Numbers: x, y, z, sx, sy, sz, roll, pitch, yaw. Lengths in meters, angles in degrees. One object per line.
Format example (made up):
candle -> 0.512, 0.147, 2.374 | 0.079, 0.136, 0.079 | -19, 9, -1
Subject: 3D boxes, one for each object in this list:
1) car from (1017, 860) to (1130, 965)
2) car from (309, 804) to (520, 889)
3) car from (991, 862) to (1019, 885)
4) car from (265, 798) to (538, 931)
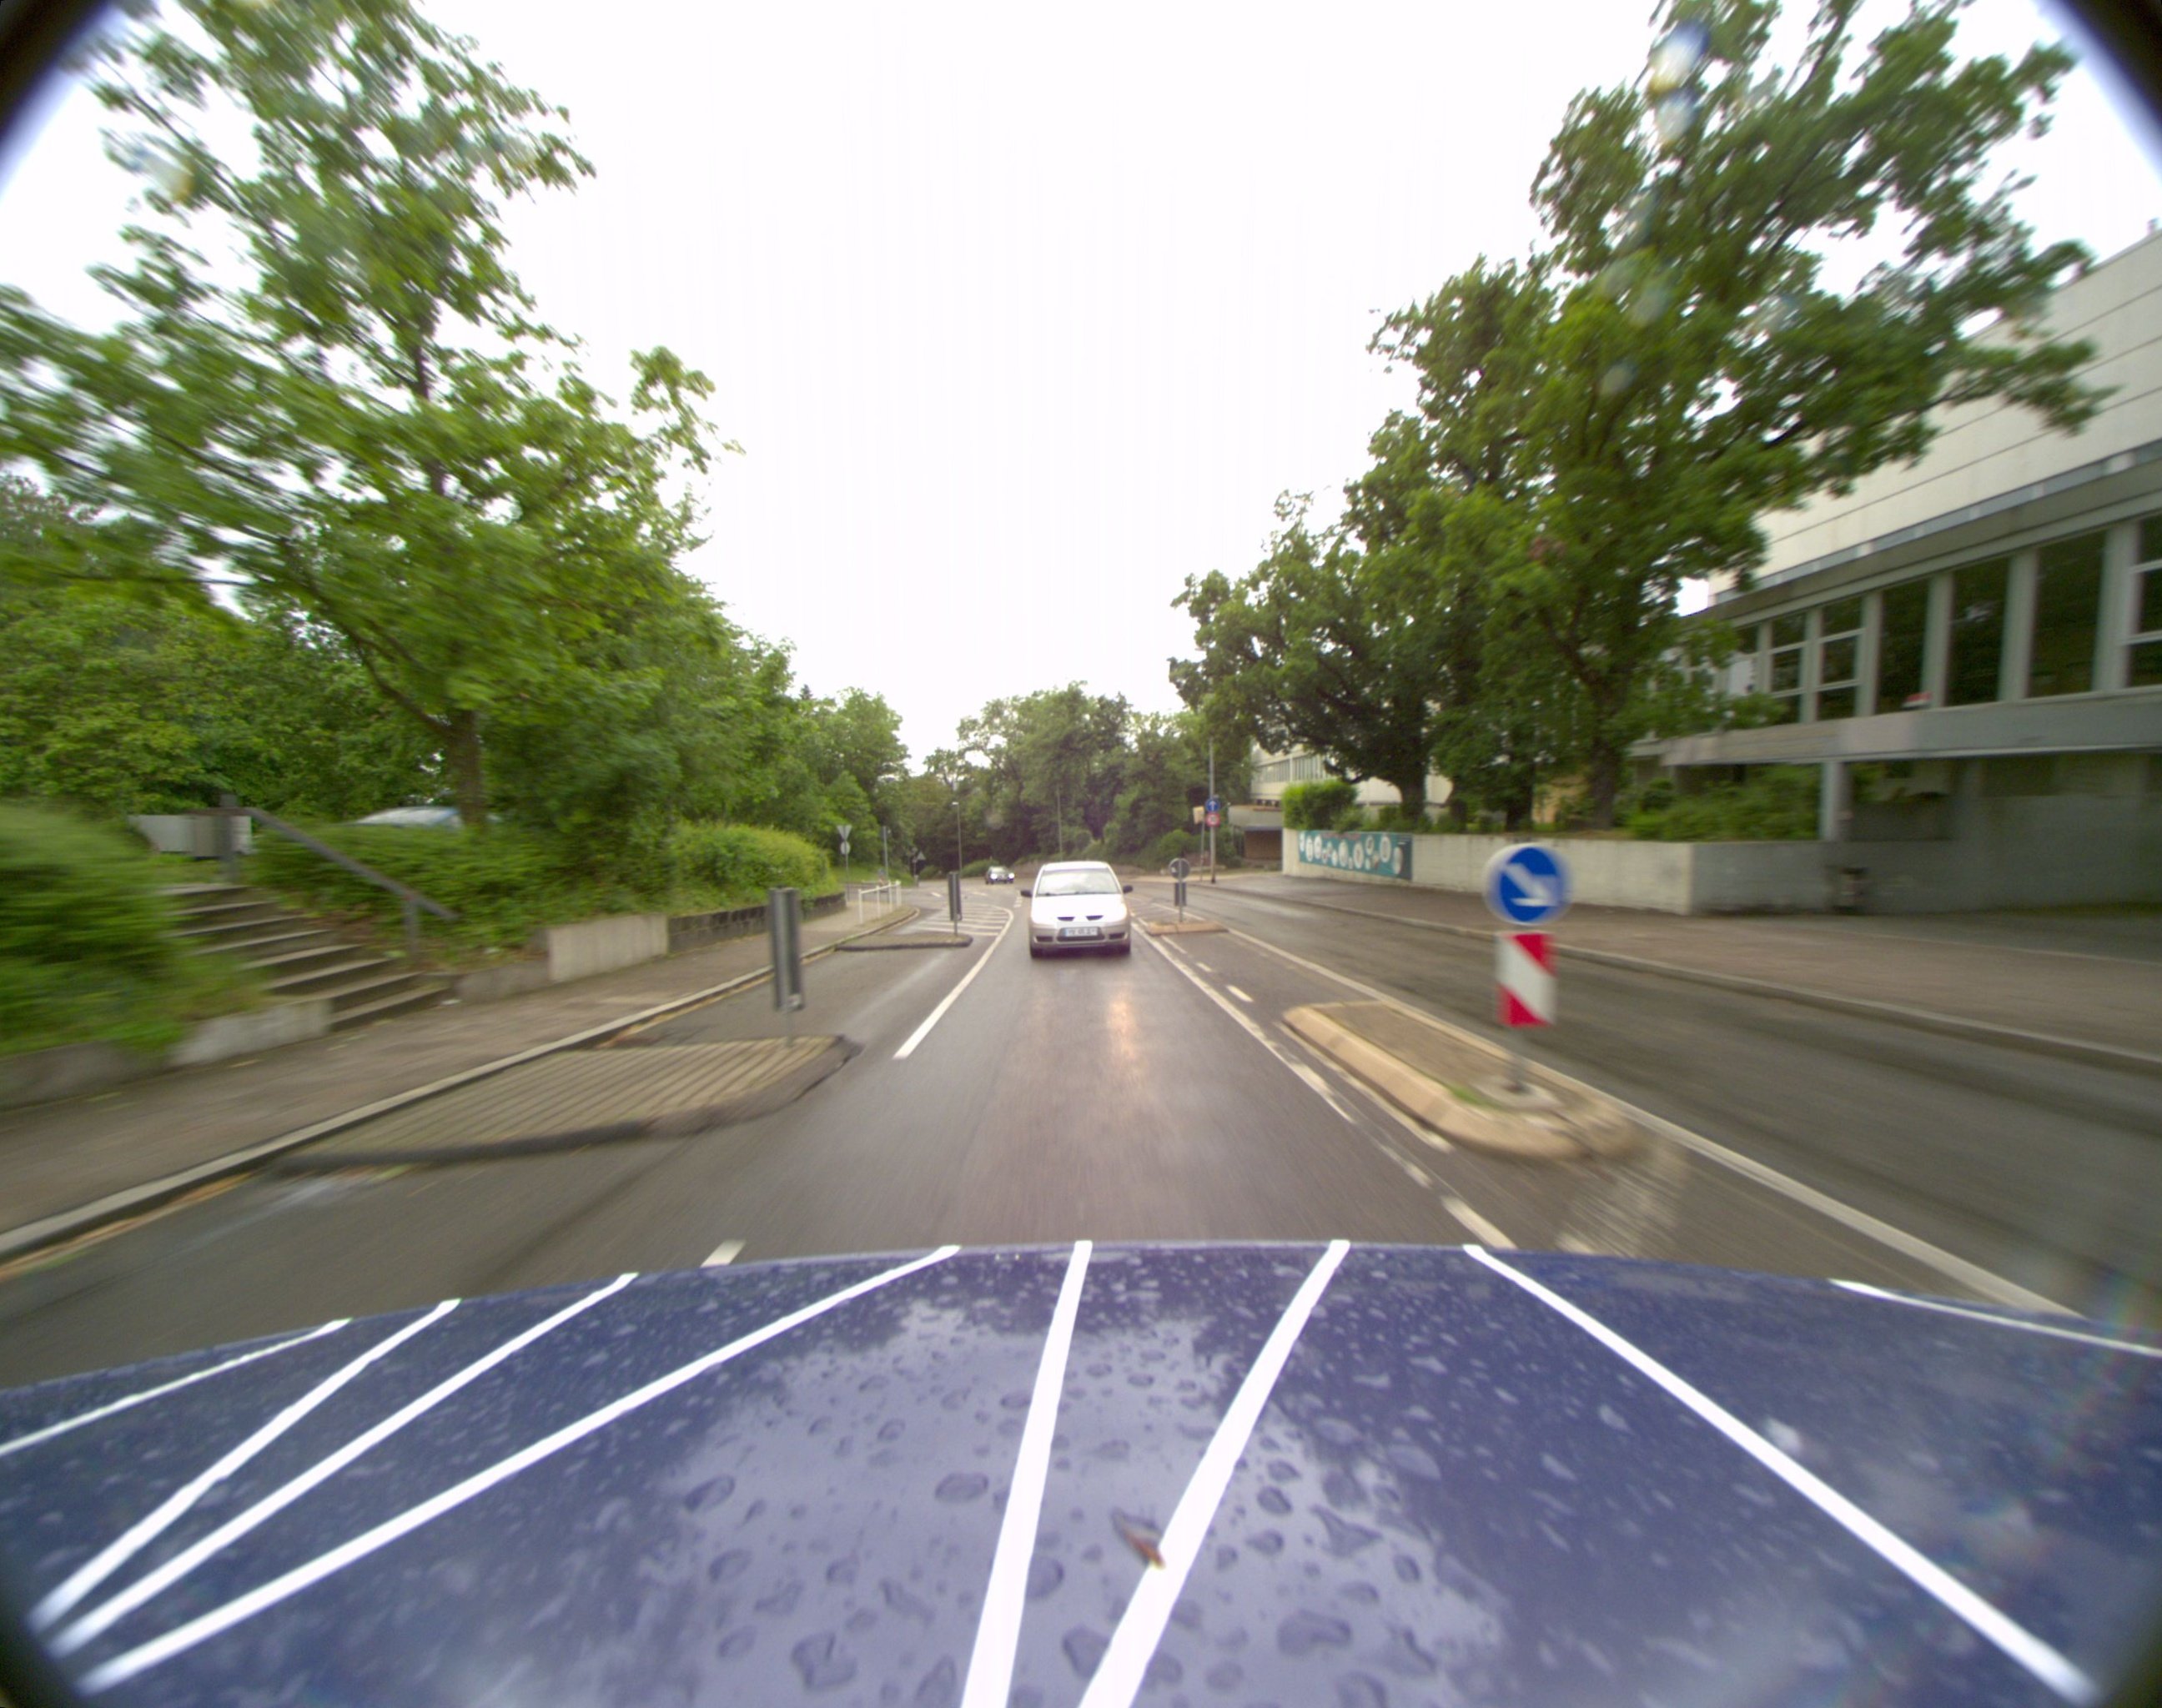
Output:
car -> -0.144, 0.936, 13.755 | 1.640, 1.496, 4.000 | -4, -1, -1
car -> -11.685, -0.118, 13.552 | 1.310, 1.301, 2.876 | -3, 0, -5
car -> -6.166, 1.543, 61.482 | 2.036, 1.691, 3.998 | -3, 0, -6
car -> -11.824, 0.170, 13.568 | 1.689, 2.002, 3.416 | -3, 0, 0
